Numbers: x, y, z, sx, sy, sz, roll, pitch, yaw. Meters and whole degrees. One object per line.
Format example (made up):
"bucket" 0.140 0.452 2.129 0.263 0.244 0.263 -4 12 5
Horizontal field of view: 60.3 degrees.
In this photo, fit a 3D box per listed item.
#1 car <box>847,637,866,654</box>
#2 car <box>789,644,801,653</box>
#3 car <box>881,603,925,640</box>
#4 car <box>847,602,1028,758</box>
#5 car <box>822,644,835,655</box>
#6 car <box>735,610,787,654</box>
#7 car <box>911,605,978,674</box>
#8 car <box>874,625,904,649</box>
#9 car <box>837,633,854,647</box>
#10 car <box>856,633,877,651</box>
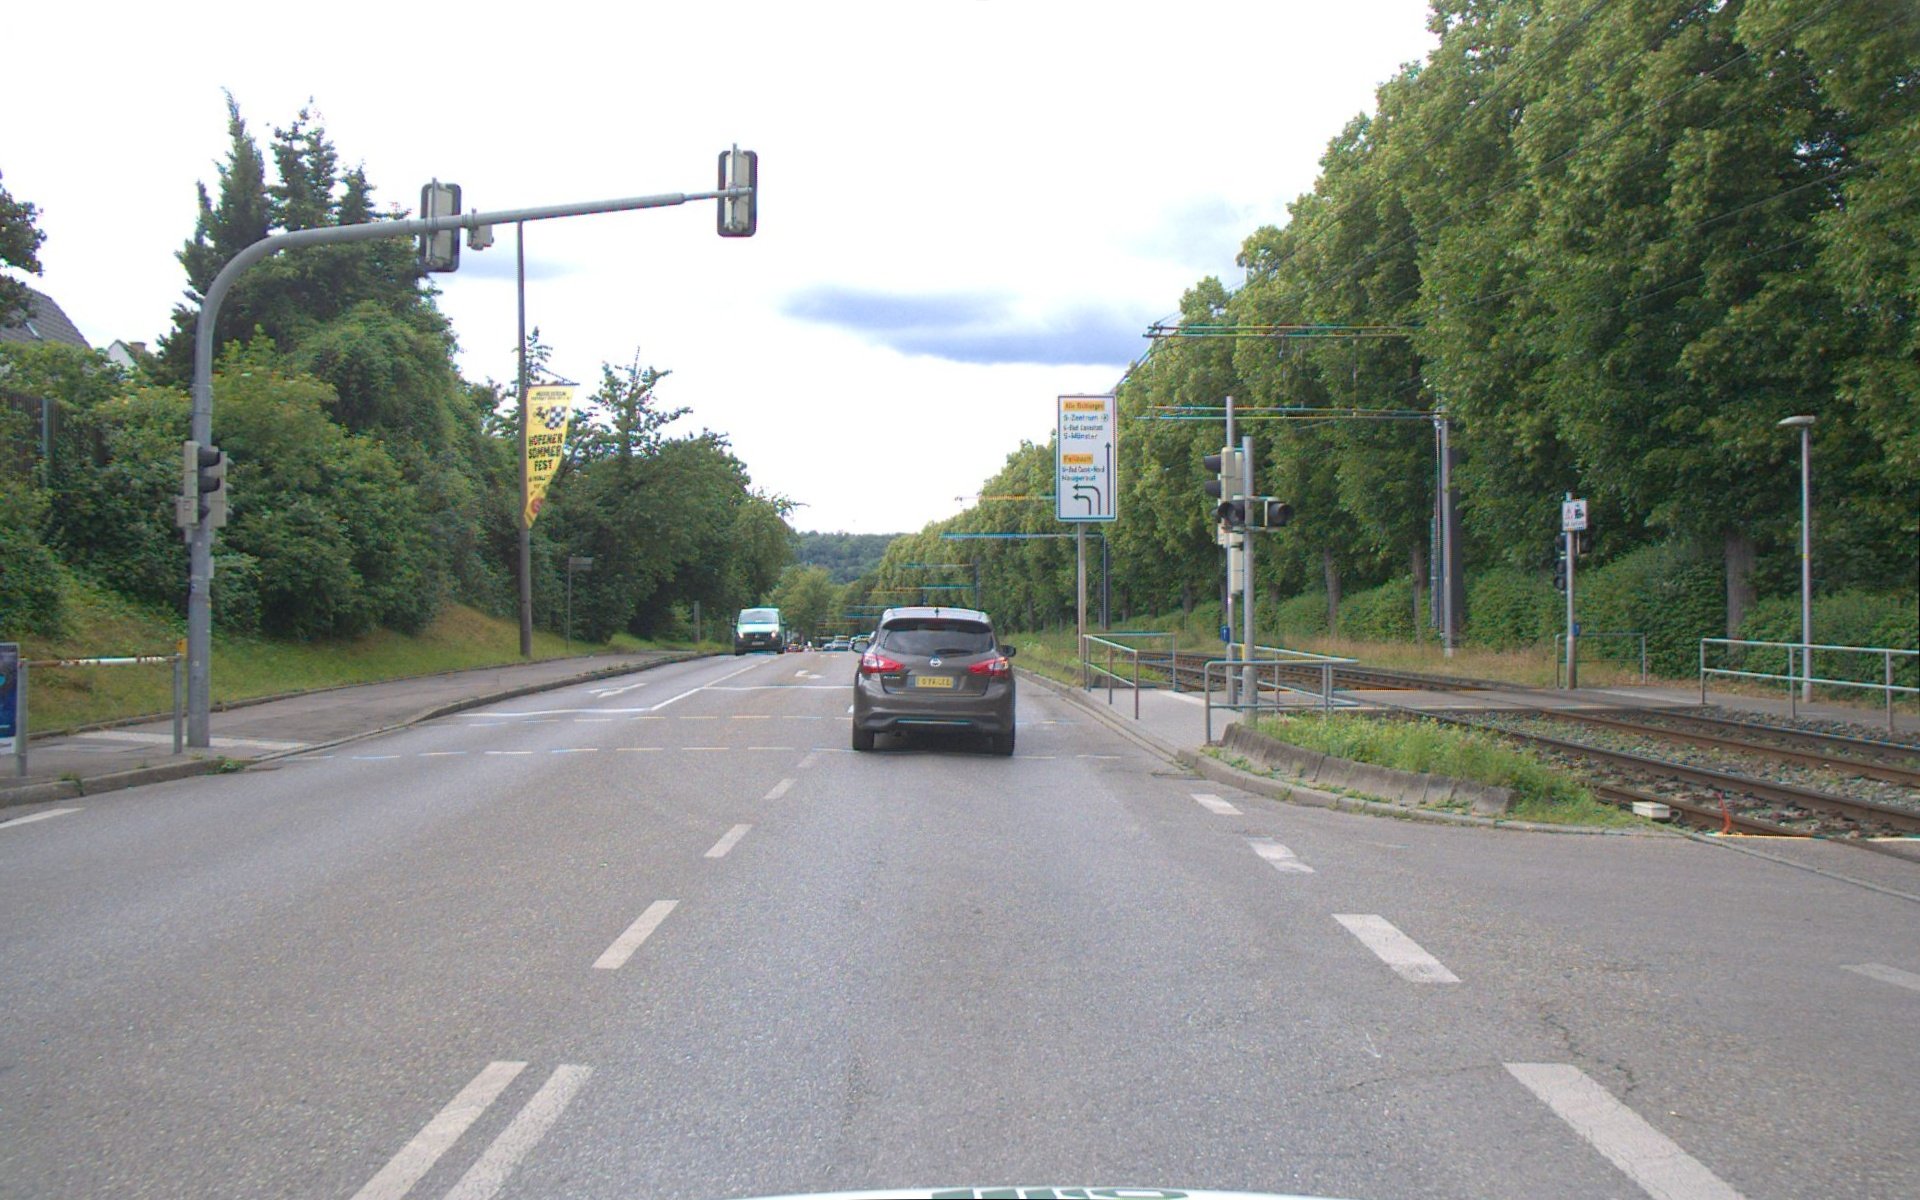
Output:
"car" -9.623 4.237 153.810 1.707 1.333 3.998 2 0 -3
"car" -25.896 7.606 260.100 1.707 1.333 3.998 2 0 -3
"car" -2.273 0.851 66.754 1.706 1.333 3.999 2 0 -1
"car" -0.269 0.847 19.041 1.798 1.545 4.481 1 -1 -1
"car" -17.873 6.747 224.761 1.707 1.333 3.998 2 0 -3
"car" -7.989 1.263 66.623 1.749 1.725 3.998 0 -1 -3
"car" -0.386 0.889 39.150 1.507 1.504 3.763 0 1 -1
"car" -4.373 2.260 102.521 1.706 1.333 3.999 2 0 -1
"car" -12.049 4.190 173.833 1.707 1.333 3.998 2 0 -3
"car" -7.705 3.477 136.468 1.707 1.333 3.998 2 0 -3
